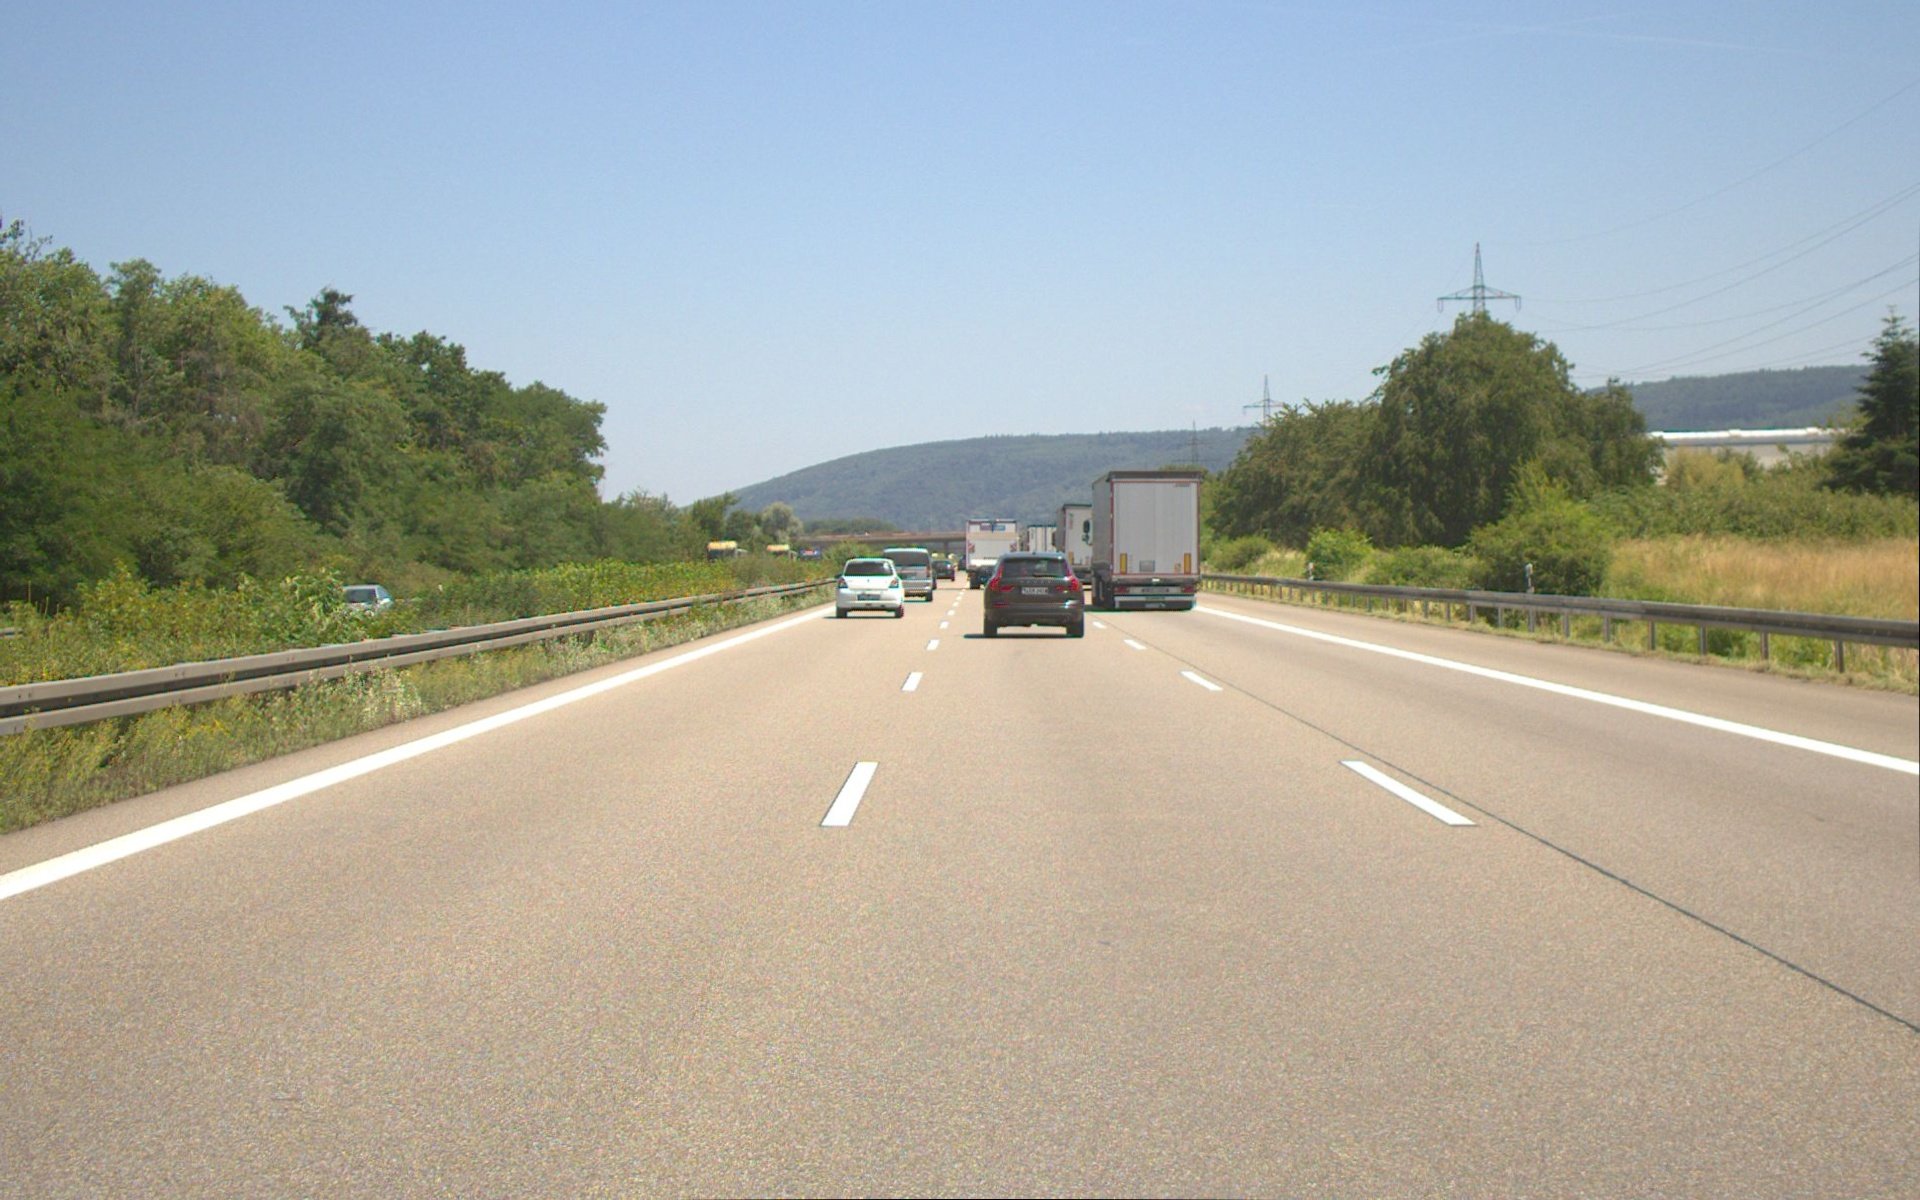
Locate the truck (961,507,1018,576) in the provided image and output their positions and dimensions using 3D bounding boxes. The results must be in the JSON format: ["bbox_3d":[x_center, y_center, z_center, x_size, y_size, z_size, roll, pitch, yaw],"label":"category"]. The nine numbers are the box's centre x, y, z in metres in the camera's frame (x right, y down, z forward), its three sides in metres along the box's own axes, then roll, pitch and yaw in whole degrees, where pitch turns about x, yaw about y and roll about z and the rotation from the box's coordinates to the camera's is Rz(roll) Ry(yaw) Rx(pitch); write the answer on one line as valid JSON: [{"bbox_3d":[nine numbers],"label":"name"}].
[{"bbox_3d":[1.464,-2.869,172.013,2.782,3.361,8.127,0,0,0],"label":"truck"}]

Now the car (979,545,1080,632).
[{"bbox_3d":[1.311,-0.238,66.268,1.873,1.618,4.004,0,1,0],"label":"car"}]

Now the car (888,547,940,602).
[{"bbox_3d":[-1.618,-0.913,121.759,1.761,1.844,4.000,-2,1,0],"label":"car"}]

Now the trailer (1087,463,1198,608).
[{"bbox_3d":[5.394,-1.885,103.372,2.736,4.092,13.122,0,1,0],"label":"trailer"}]

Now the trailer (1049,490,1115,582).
[{"bbox_3d":[5.818,-3.032,165.538,2.789,4.149,13.574,-2,1,1],"label":"trailer"}]

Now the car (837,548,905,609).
[{"bbox_3d":[-2.257,-0.560,88.130,1.607,1.462,4.000,-2,1,0],"label":"car"}]

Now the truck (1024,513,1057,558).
[{"bbox_3d":[5.930,-4.775,255.455,2.221,3.198,10.384,-1,1,1],"label":"truck"}]
